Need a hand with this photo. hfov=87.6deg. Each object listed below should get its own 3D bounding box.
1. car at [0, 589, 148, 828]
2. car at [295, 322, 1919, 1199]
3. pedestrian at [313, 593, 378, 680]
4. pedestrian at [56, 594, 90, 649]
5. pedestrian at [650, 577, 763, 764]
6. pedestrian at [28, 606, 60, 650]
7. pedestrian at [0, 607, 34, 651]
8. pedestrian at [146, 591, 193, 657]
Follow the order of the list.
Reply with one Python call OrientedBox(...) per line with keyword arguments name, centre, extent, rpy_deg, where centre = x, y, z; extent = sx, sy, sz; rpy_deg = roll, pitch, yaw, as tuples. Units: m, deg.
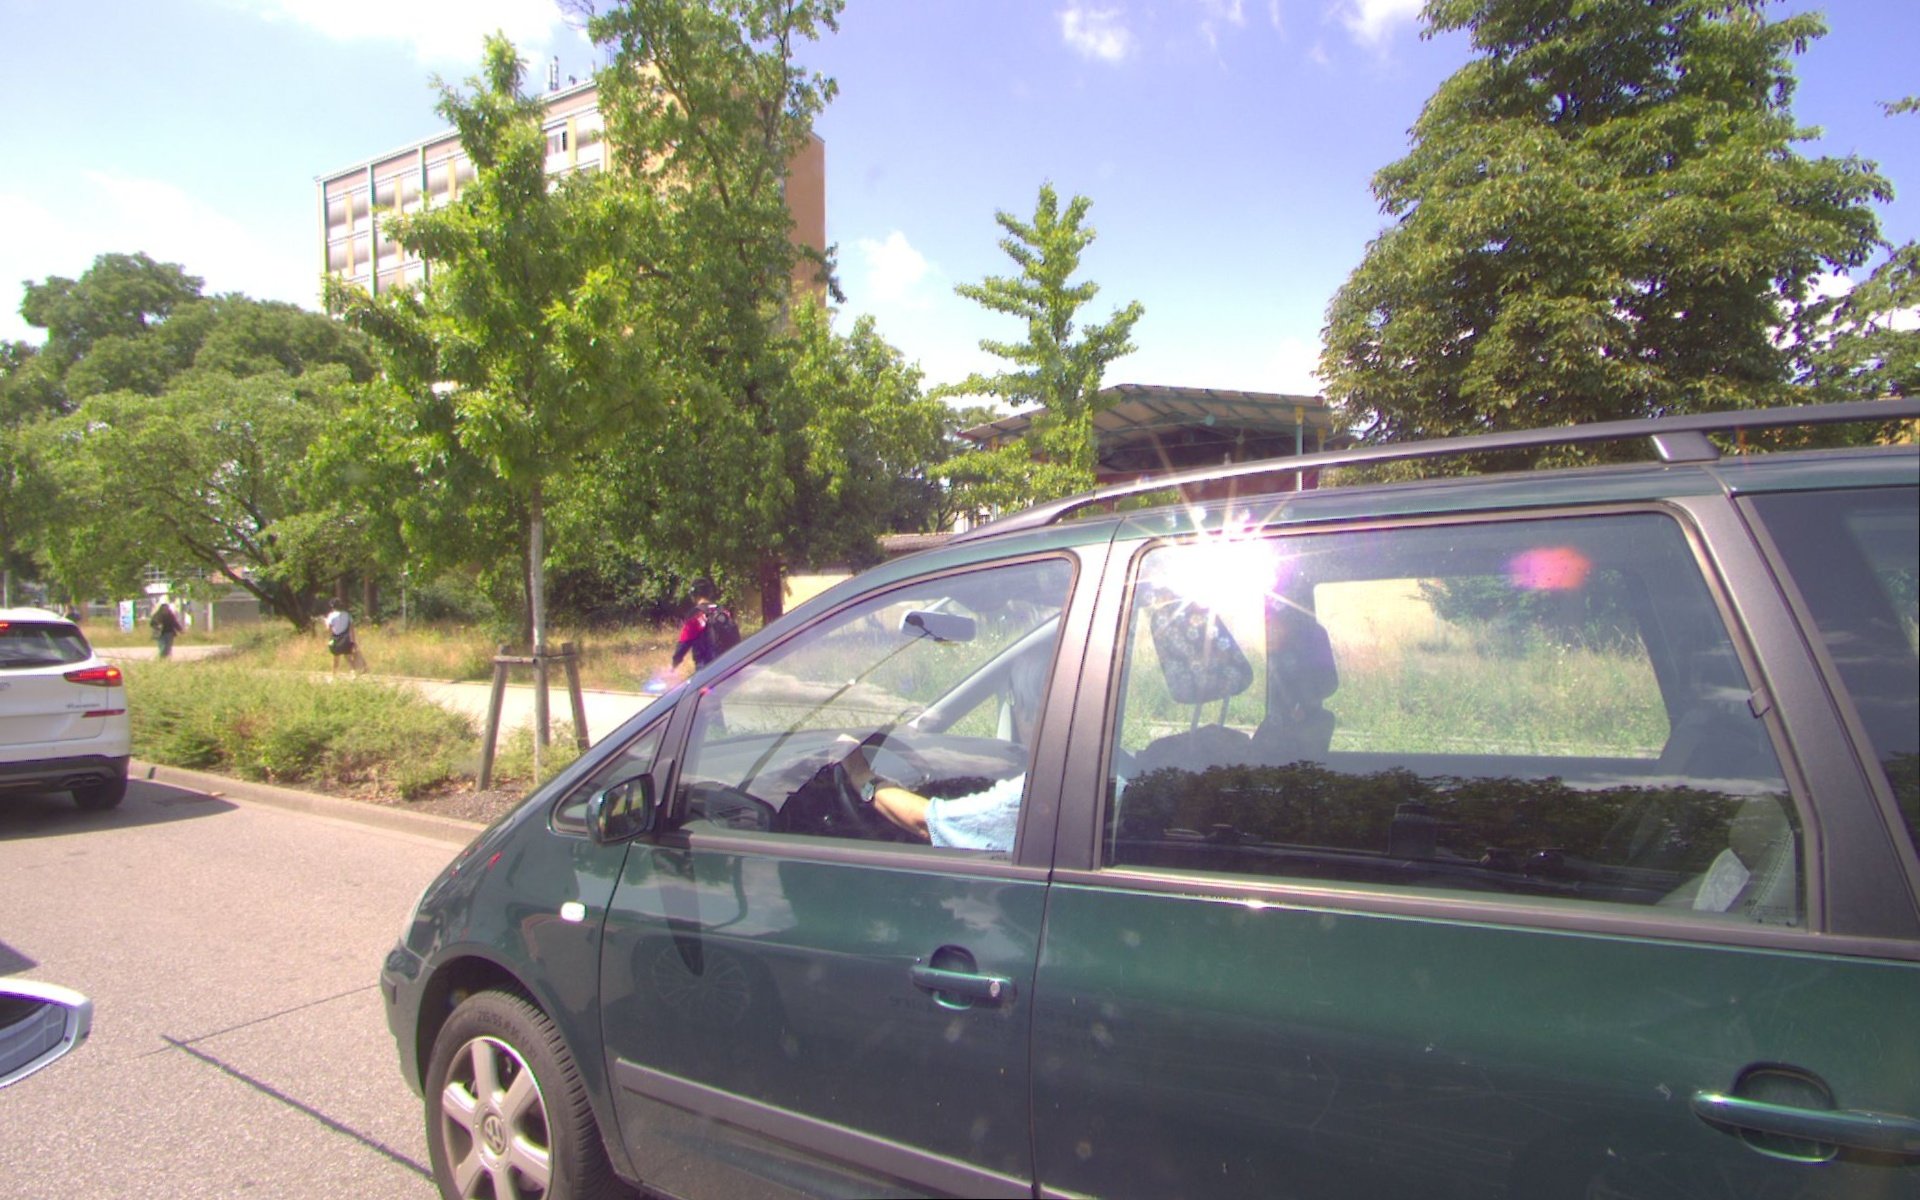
OrientedBox(name="car", centre=(-8.468, 0.783, 8.166), extent=(3.919, 1.701, 1.810), rpy_deg=(0, 0, 34))
OrientedBox(name="car", centre=(0.554, 0.633, 2.277), extent=(4.329, 1.737, 1.799), rpy_deg=(0, -2, 32))
OrientedBox(name="pedestrian", centre=(-11.504, 0.673, 18.760), extent=(0.805, 1.578, 0.757), rpy_deg=(0, 1, 33))
OrientedBox(name="pedestrian", centre=(-30.017, 0.728, 33.897), extent=(0.806, 1.813, 0.755), rpy_deg=(0, 0, 40))
OrientedBox(name="pedestrian", centre=(-2.453, 0.649, 9.687), extent=(0.807, 1.706, 0.754), rpy_deg=(0, 1, 44))
OrientedBox(name="pedestrian", centre=(-39.842, 1.196, 43.557), extent=(0.803, 1.874, 0.759), rpy_deg=(0, 1, 24))
OrientedBox(name="pedestrian", centre=(-40.115, 1.229, 42.600), extent=(0.802, 1.874, 0.759), rpy_deg=(0, 1, 22))
OrientedBox(name="pedestrian", centre=(-20.432, 0.615, 25.886), extent=(0.805, 1.677, 0.756), rpy_deg=(0, 1, 36))
